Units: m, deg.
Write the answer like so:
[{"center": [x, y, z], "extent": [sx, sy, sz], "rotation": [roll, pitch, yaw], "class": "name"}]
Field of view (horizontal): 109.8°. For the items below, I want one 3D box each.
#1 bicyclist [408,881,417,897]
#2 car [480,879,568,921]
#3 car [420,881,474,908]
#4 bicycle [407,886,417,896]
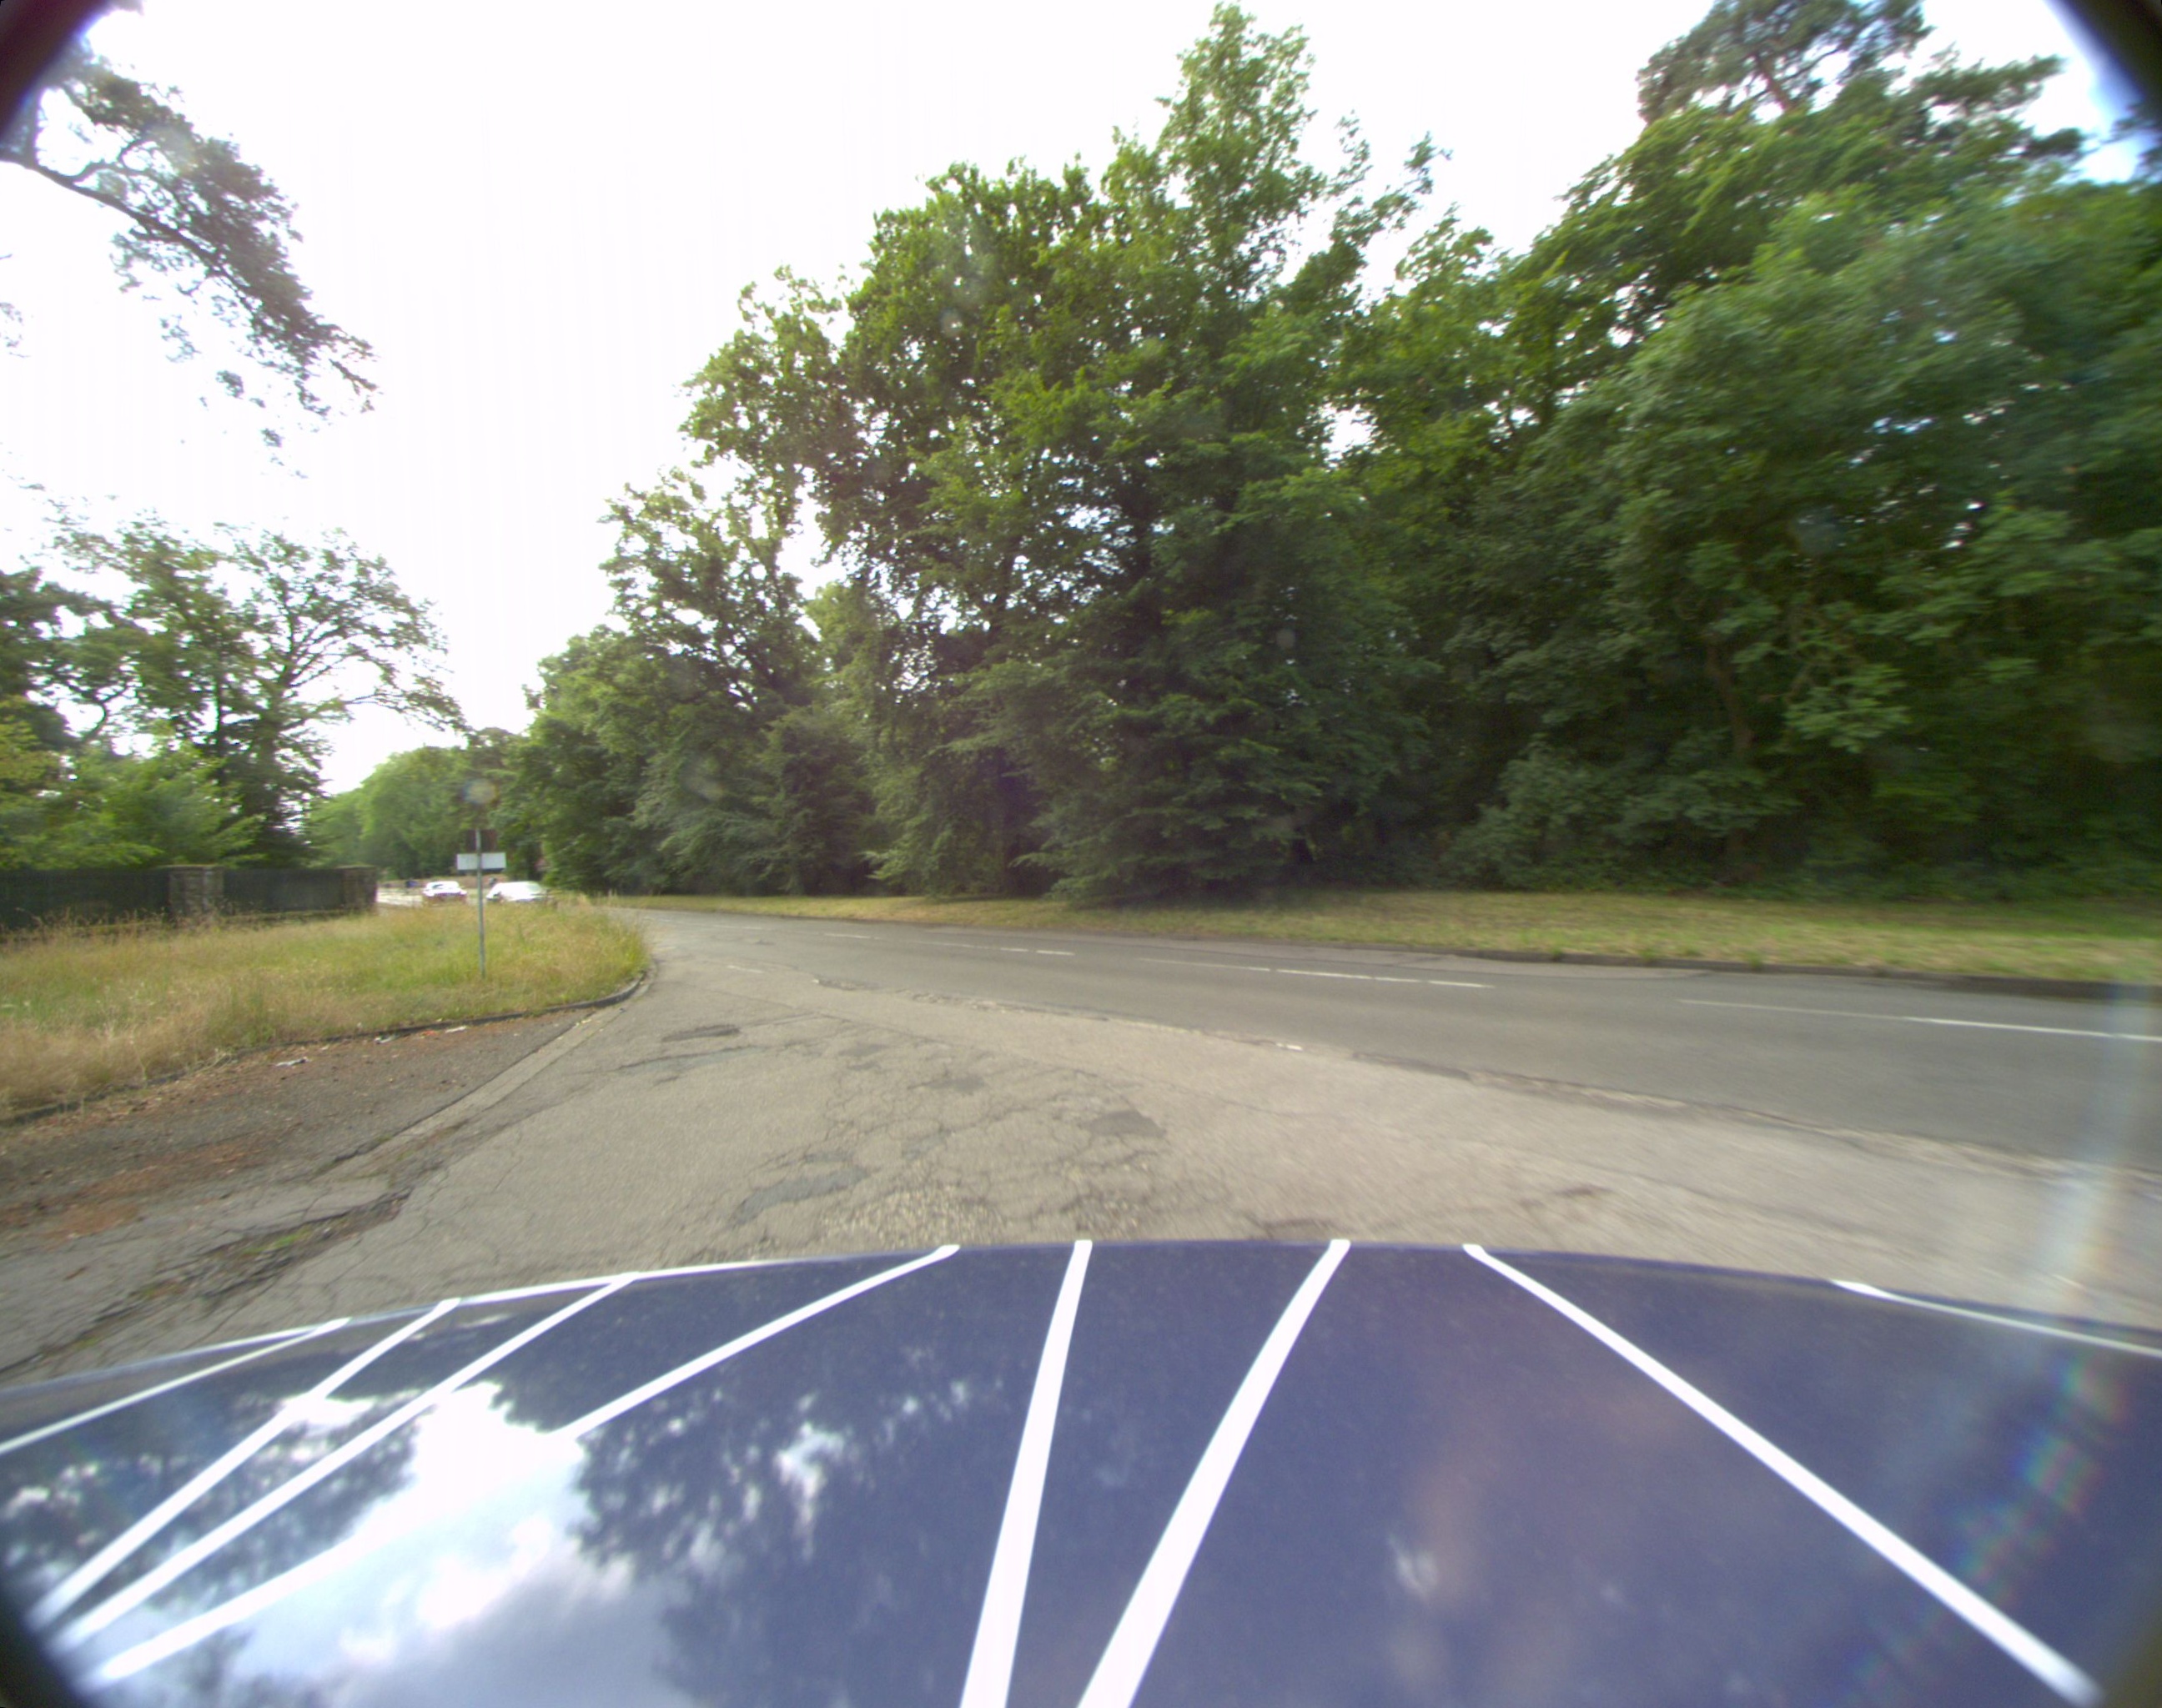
[{"center": [-68.033, 3.599, 77.312], "extent": [1.202, 1.578, 0.573], "rotation": [-3, -1, 43], "class": "bicyclist"}, {"center": [-23.119, 1.925, 31.482], "extent": [4.518, 1.455, 1.970], "rotation": [-5, 0, 42], "class": "car"}, {"center": [-38.434, 2.420, 46.035], "extent": [4.192, 1.455, 2.004], "rotation": [-2, 0, 43], "class": "car"}, {"center": [-68.068, 3.771, 77.339], "extent": [2.151, 1.066, 0.561], "rotation": [-3, -2, 43], "class": "bicycle"}]
